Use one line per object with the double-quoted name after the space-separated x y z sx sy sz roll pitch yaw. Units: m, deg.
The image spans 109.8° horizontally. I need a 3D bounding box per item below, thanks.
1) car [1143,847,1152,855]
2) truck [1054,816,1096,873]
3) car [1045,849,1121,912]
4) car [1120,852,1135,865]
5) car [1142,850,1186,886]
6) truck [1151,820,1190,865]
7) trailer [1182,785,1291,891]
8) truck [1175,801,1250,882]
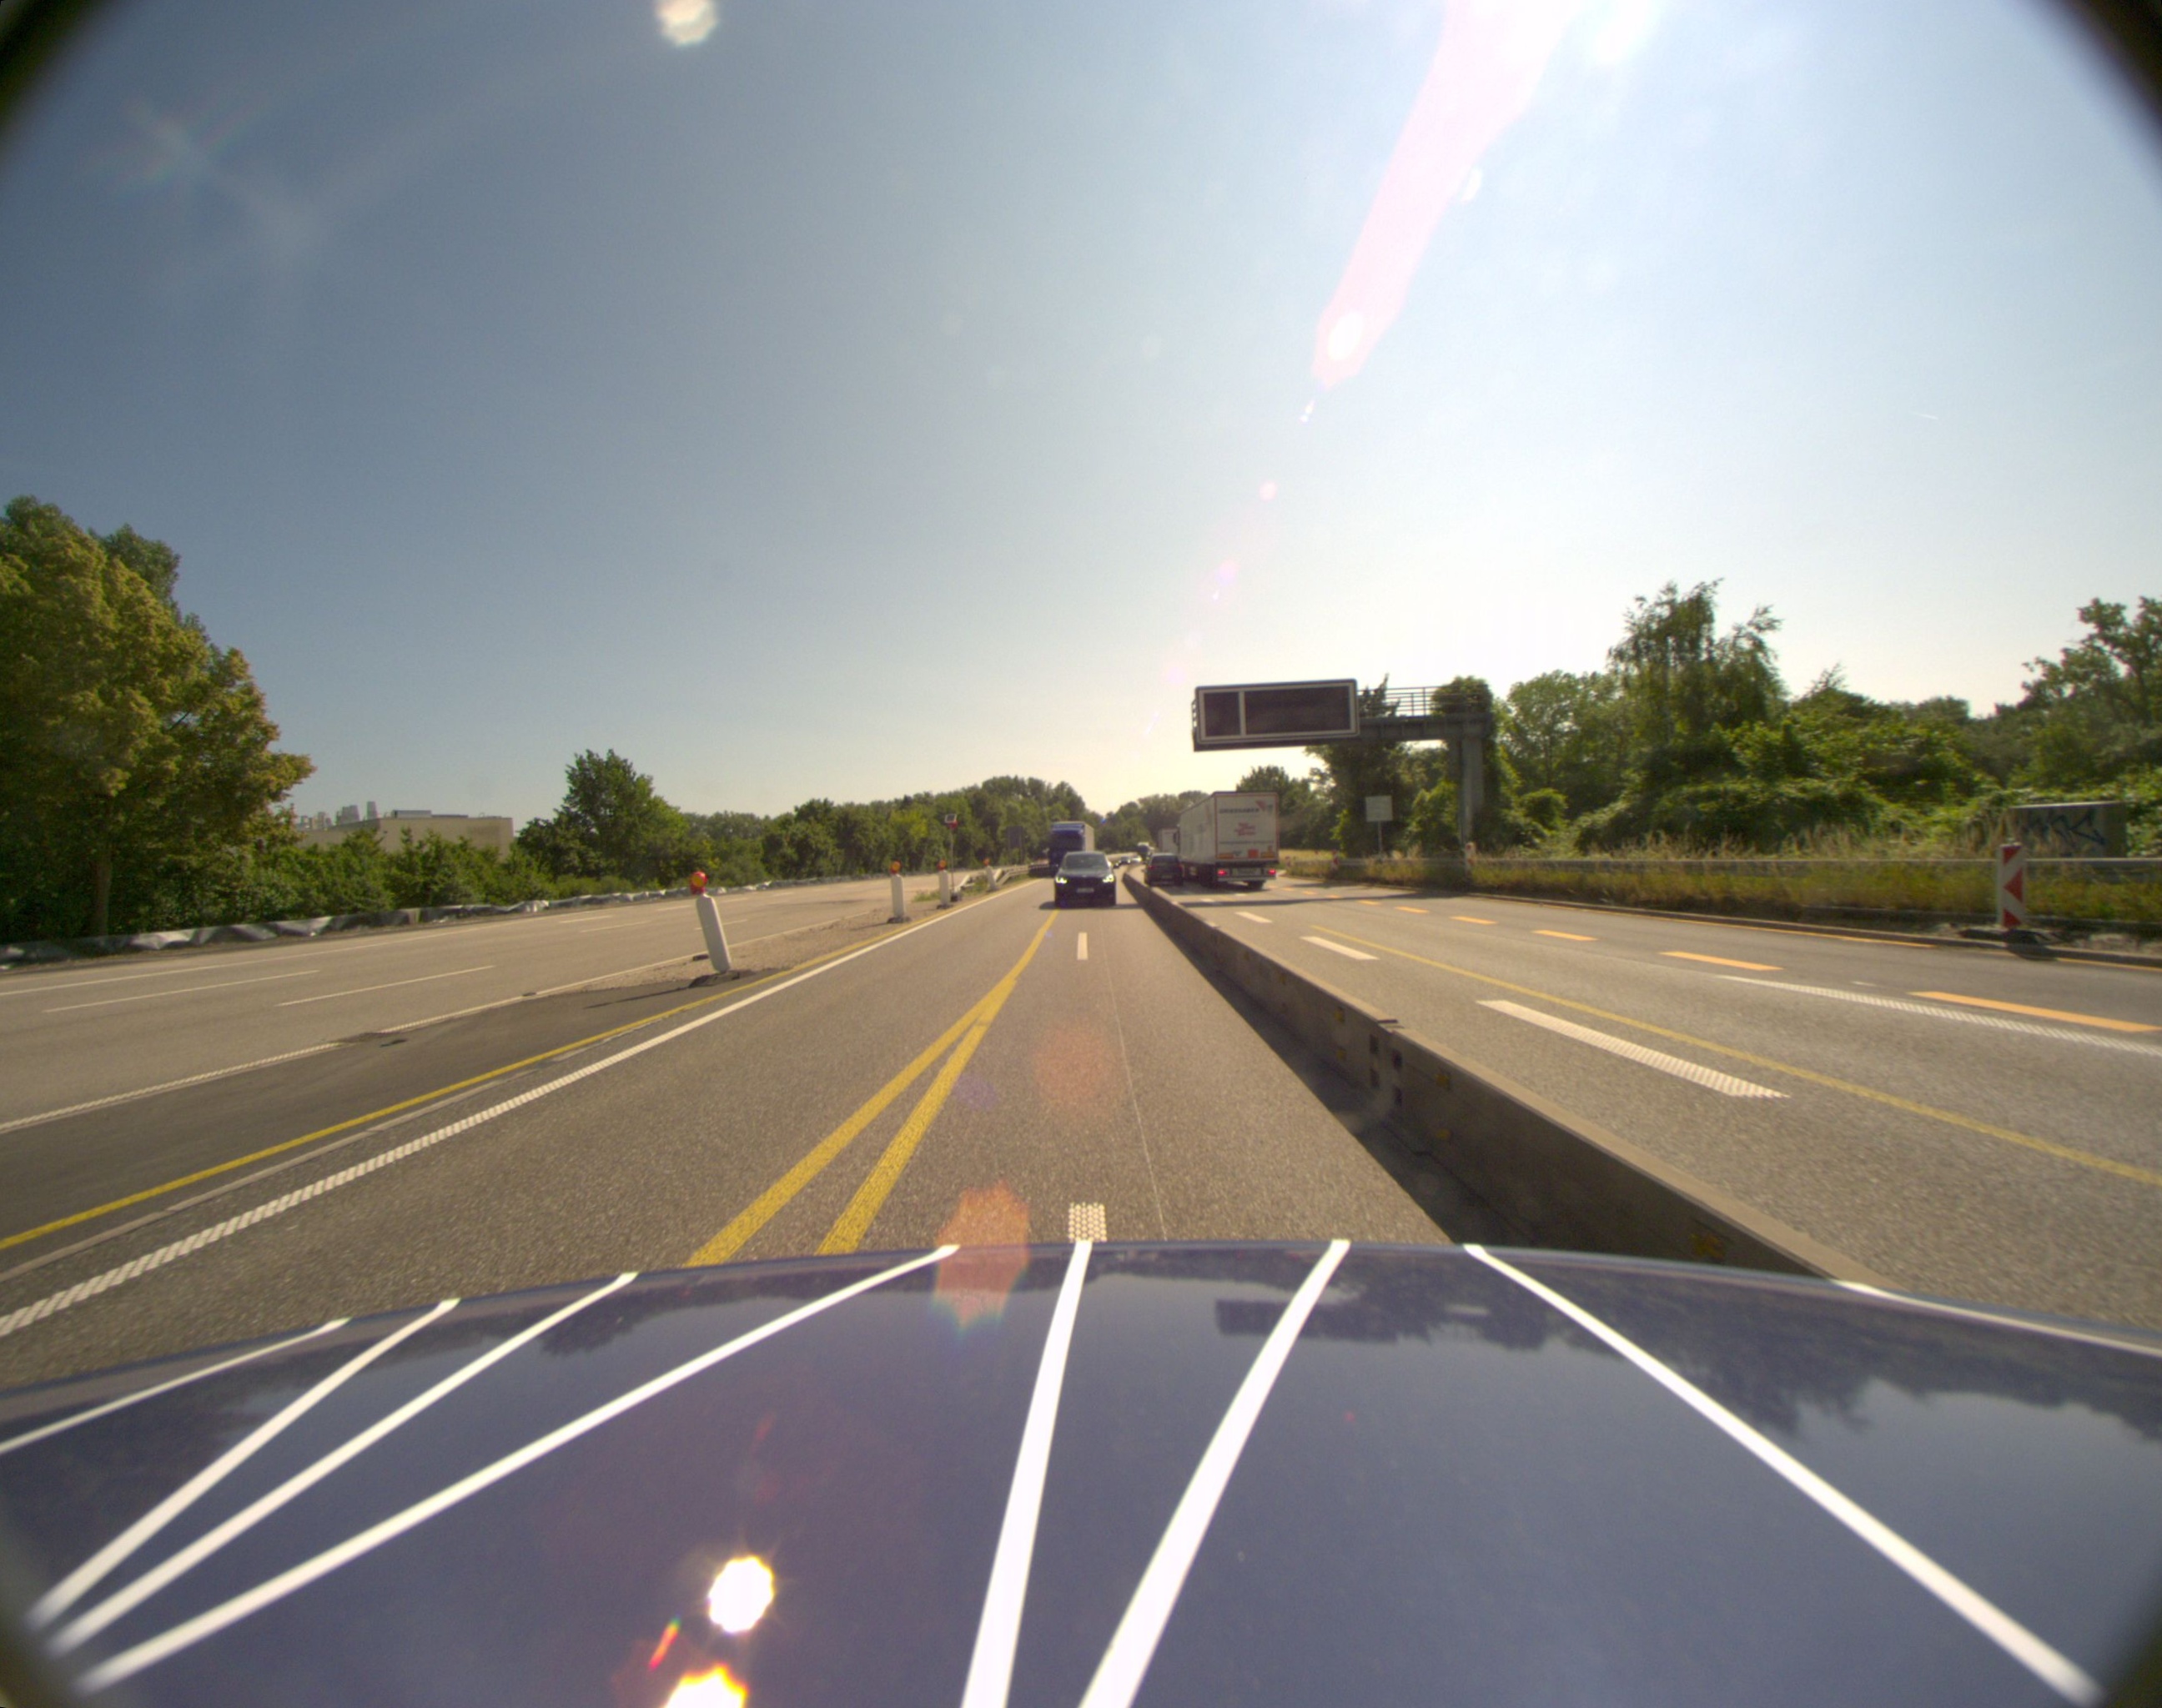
14.357 -0.672 165.119 1.747 1.621 4.093 -2 1 3 "car"
-0.426 -0.698 58.703 2.861 3.962 8.664 -2 1 0 "truck"
0.179 0.769 24.464 1.788 1.651 4.488 -5 1 7 "car"
6.463 0.612 106.247 1.747 1.621 4.092 -2 1 1 "car"
4.075 0.639 37.996 1.747 1.621 4.372 -2 1 1 "car"
8.665 -1.092 74.442 3.053 4.081 8.711 -2 1 2 "truck"
7.006 -0.713 36.479 3.053 4.081 12.340 -2 1 2 "trailer"
7.252 -0.685 42.890 3.053 4.081 7.643 -2 1 2 "truck"
